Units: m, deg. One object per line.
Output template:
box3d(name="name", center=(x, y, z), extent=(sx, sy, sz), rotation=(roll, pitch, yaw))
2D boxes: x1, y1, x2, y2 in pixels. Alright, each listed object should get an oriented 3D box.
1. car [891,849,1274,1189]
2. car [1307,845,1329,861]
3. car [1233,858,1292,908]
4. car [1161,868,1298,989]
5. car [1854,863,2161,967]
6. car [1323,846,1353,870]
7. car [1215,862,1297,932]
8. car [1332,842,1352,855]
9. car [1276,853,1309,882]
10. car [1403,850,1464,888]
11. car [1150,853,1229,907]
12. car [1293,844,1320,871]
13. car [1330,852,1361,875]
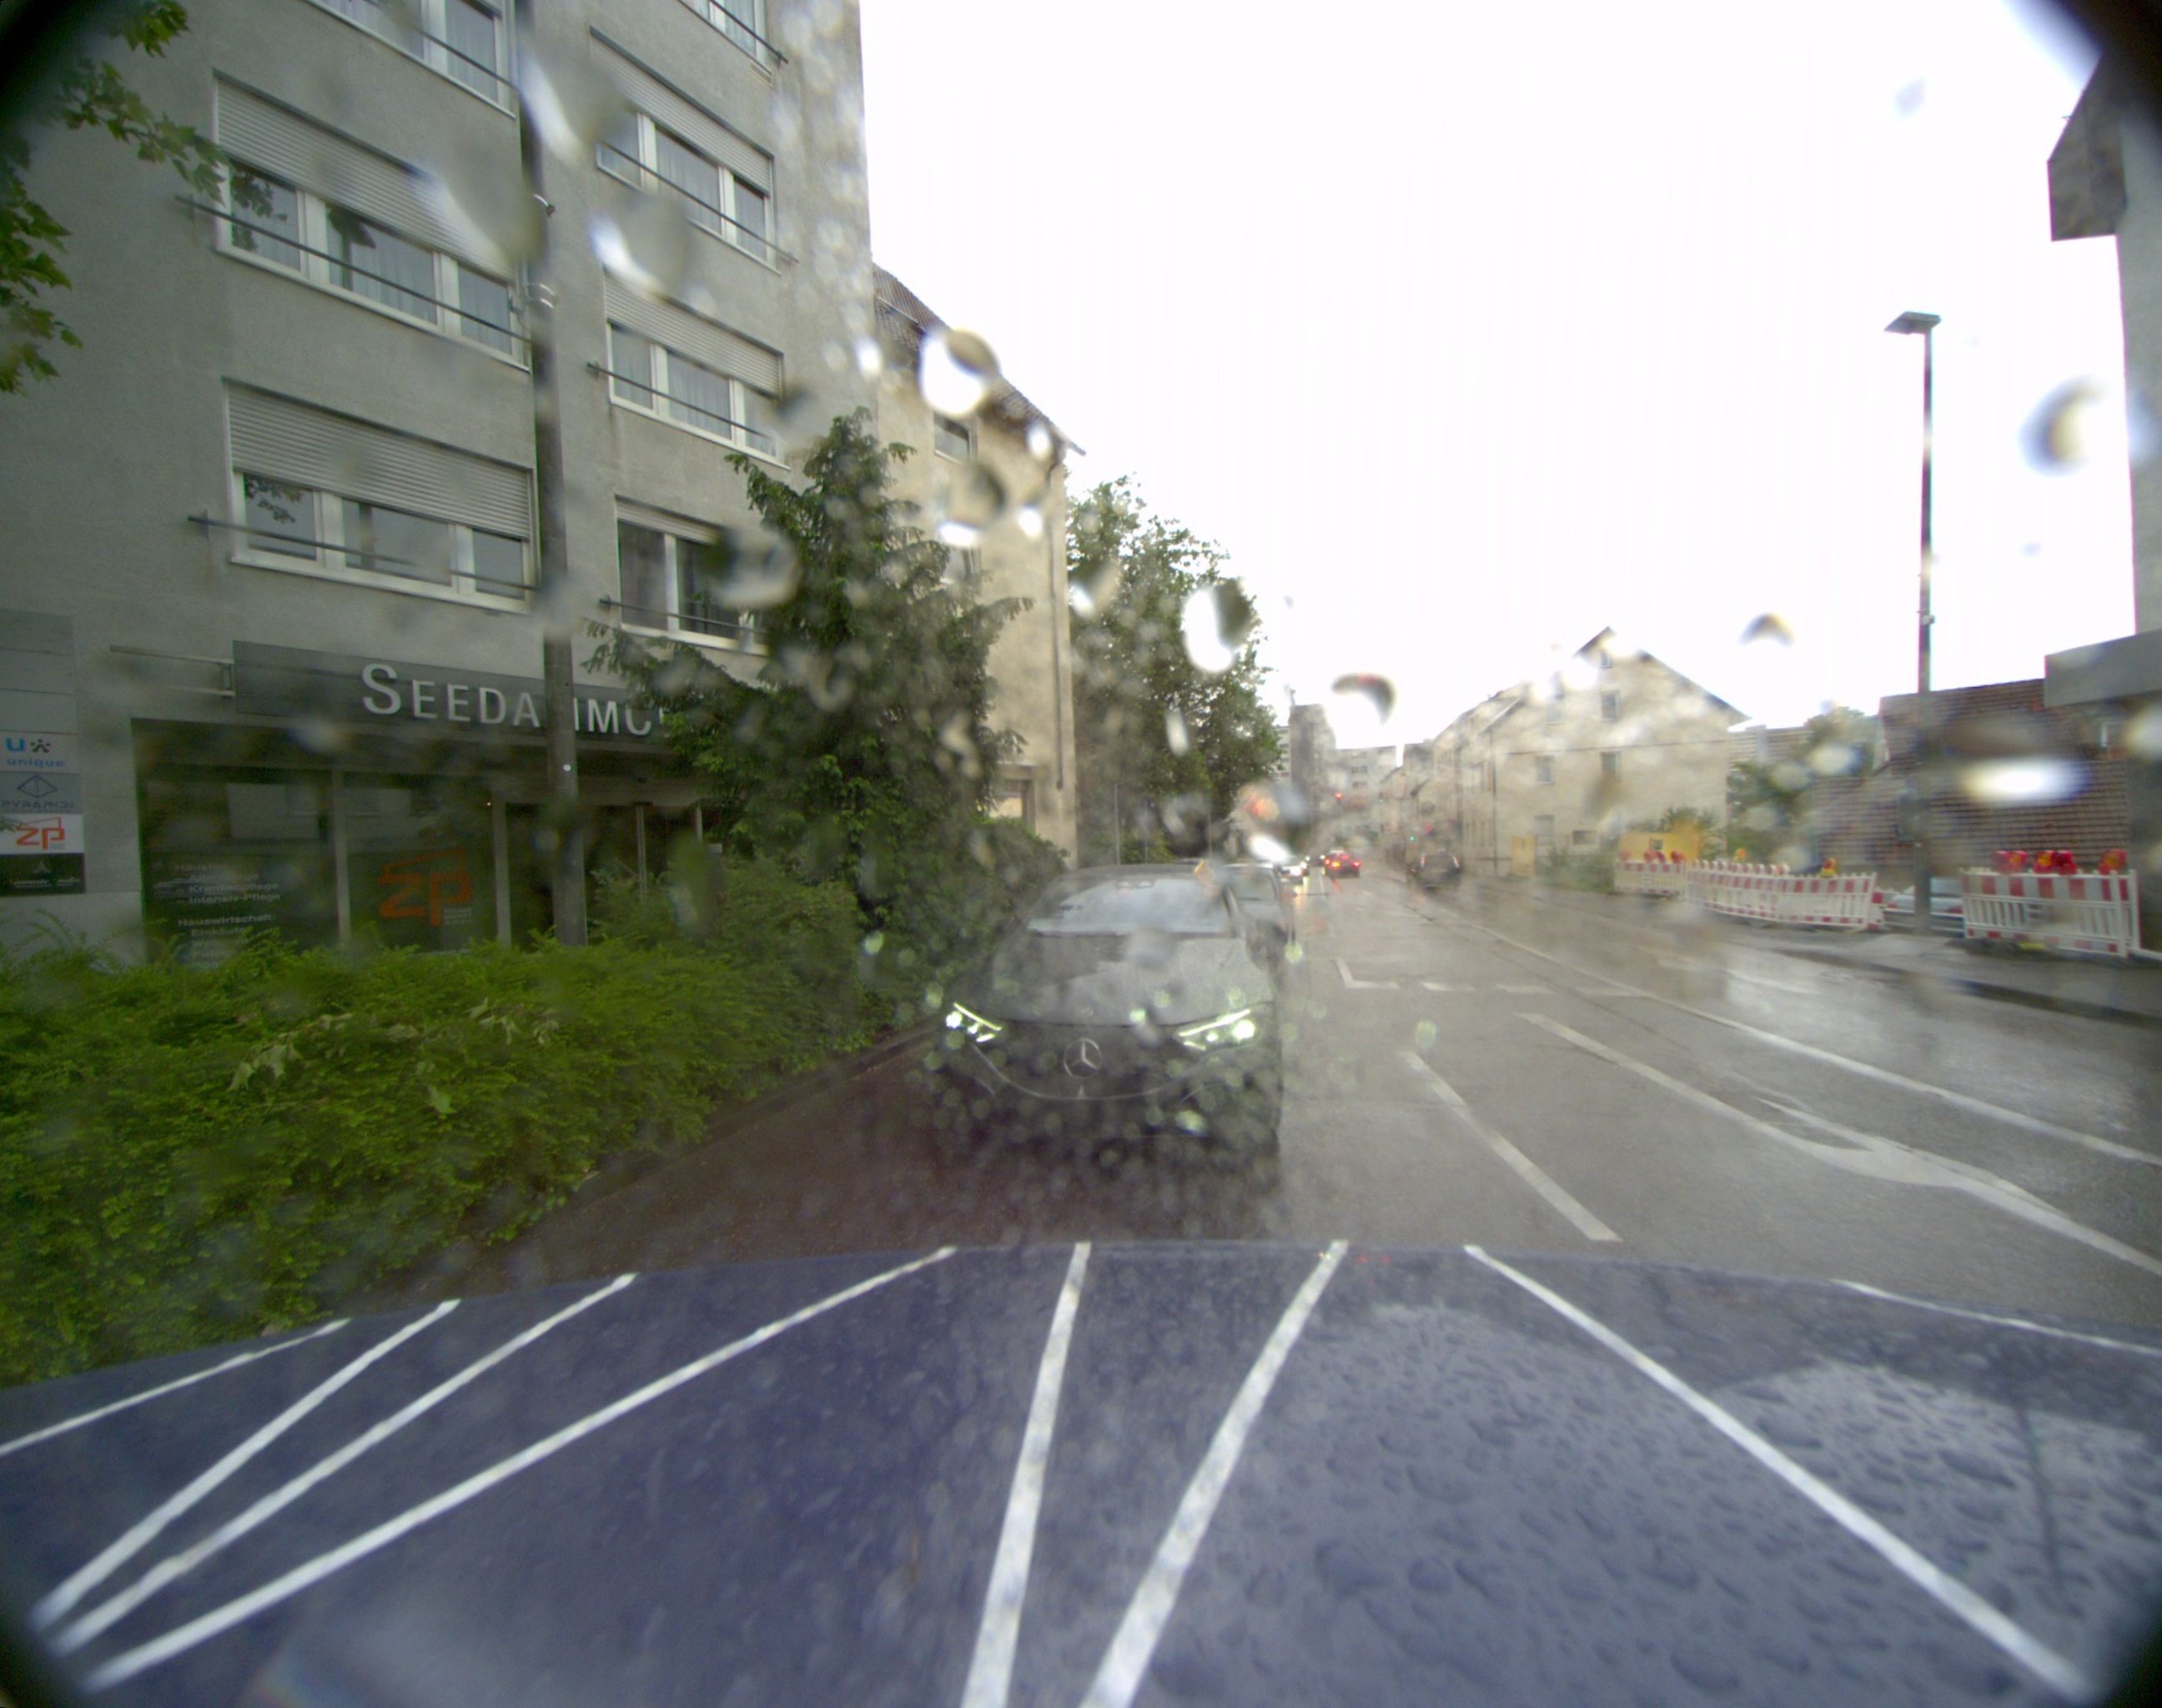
box3d(name="car", center=(0.390, 0.813, 5.769), extent=(1.819, 1.562, 4.280), rotation=(-3, -1, 11))
box3d(name="car", center=(24.785, -0.078, 79.356), extent=(1.790, 1.555, 3.841), rotation=(-2, 0, 24))
box3d(name="car", center=(6.091, 0.917, 25.275), extent=(1.684, 1.452, 4.005), rotation=(-2, 0, 16))
box3d(name="car", center=(2.383, 0.966, 11.468), extent=(1.639, 1.424, 3.810), rotation=(-1, 0, 17))
box3d(name="car", center=(16.412, 1.038, 13.423), extent=(3.505, 1.382, 1.653), rotation=(6, -1, 8))
box3d(name="car", center=(18.861, 0.310, 55.908), extent=(1.818, 1.635, 4.281), rotation=(-2, -1, 16))
box3d(name="car", center=(4.260, 0.959, 18.329), extent=(1.685, 1.413, 4.004), rotation=(-2, 0, 14))
box3d(name="car", center=(33.377, -0.742, 97.201), extent=(1.736, 1.555, 3.842), rotation=(-2, 0, 30))
box3d(name="car", center=(11.936, 0.740, 42.893), extent=(1.614, 1.495, 3.722), rotation=(-3, 0, 16))
box3d(name="car", center=(15.128, 0.622, 32.808), extent=(1.734, 1.501, 4.278), rotation=(-1, 0, 16))
box3d(name="car", center=(4.056, 0.883, 27.793), extent=(1.933, 1.770, 4.740), rotation=(-1, 0, 20))
box3d(name="car", center=(16.427, 0.263, 55.311), extent=(1.791, 1.841, 3.840), rotation=(-2, 0, 17))
box3d(name="car", center=(17.238, 0.594, 49.634), extent=(1.709, 1.375, 3.674), rotation=(-2, 0, 16))
